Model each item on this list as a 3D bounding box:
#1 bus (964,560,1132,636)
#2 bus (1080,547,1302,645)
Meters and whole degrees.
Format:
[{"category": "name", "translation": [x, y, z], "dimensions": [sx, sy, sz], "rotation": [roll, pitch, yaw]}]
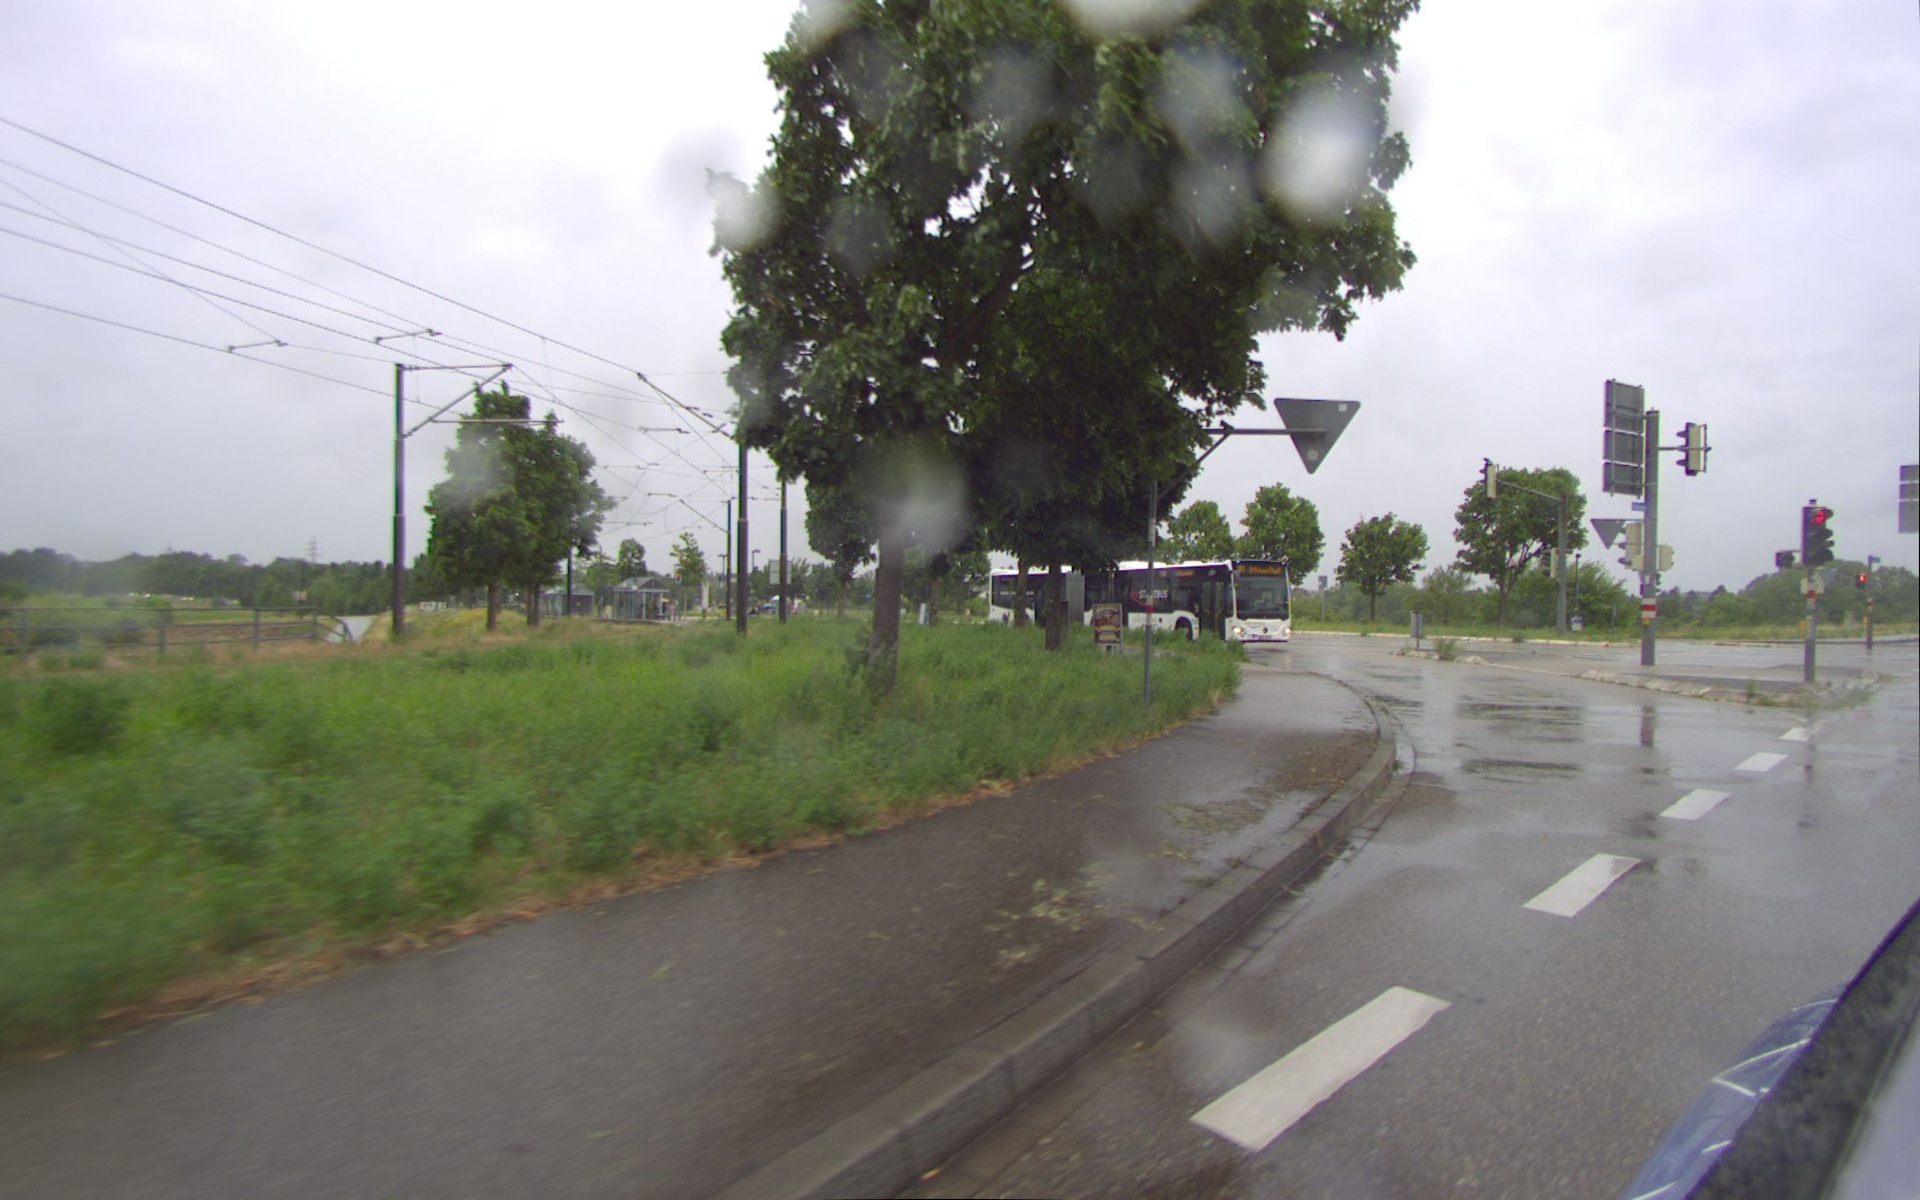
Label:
[{"category": "bus", "translation": [3.728, -0.088, 46.408], "dimensions": [2.624, 3.116, 10.006], "rotation": [0, 0, -28]}, {"category": "bus", "translation": [8.049, -0.114, 37.236], "dimensions": [2.622, 3.116, 10.013], "rotation": [0, 0, -23]}]
